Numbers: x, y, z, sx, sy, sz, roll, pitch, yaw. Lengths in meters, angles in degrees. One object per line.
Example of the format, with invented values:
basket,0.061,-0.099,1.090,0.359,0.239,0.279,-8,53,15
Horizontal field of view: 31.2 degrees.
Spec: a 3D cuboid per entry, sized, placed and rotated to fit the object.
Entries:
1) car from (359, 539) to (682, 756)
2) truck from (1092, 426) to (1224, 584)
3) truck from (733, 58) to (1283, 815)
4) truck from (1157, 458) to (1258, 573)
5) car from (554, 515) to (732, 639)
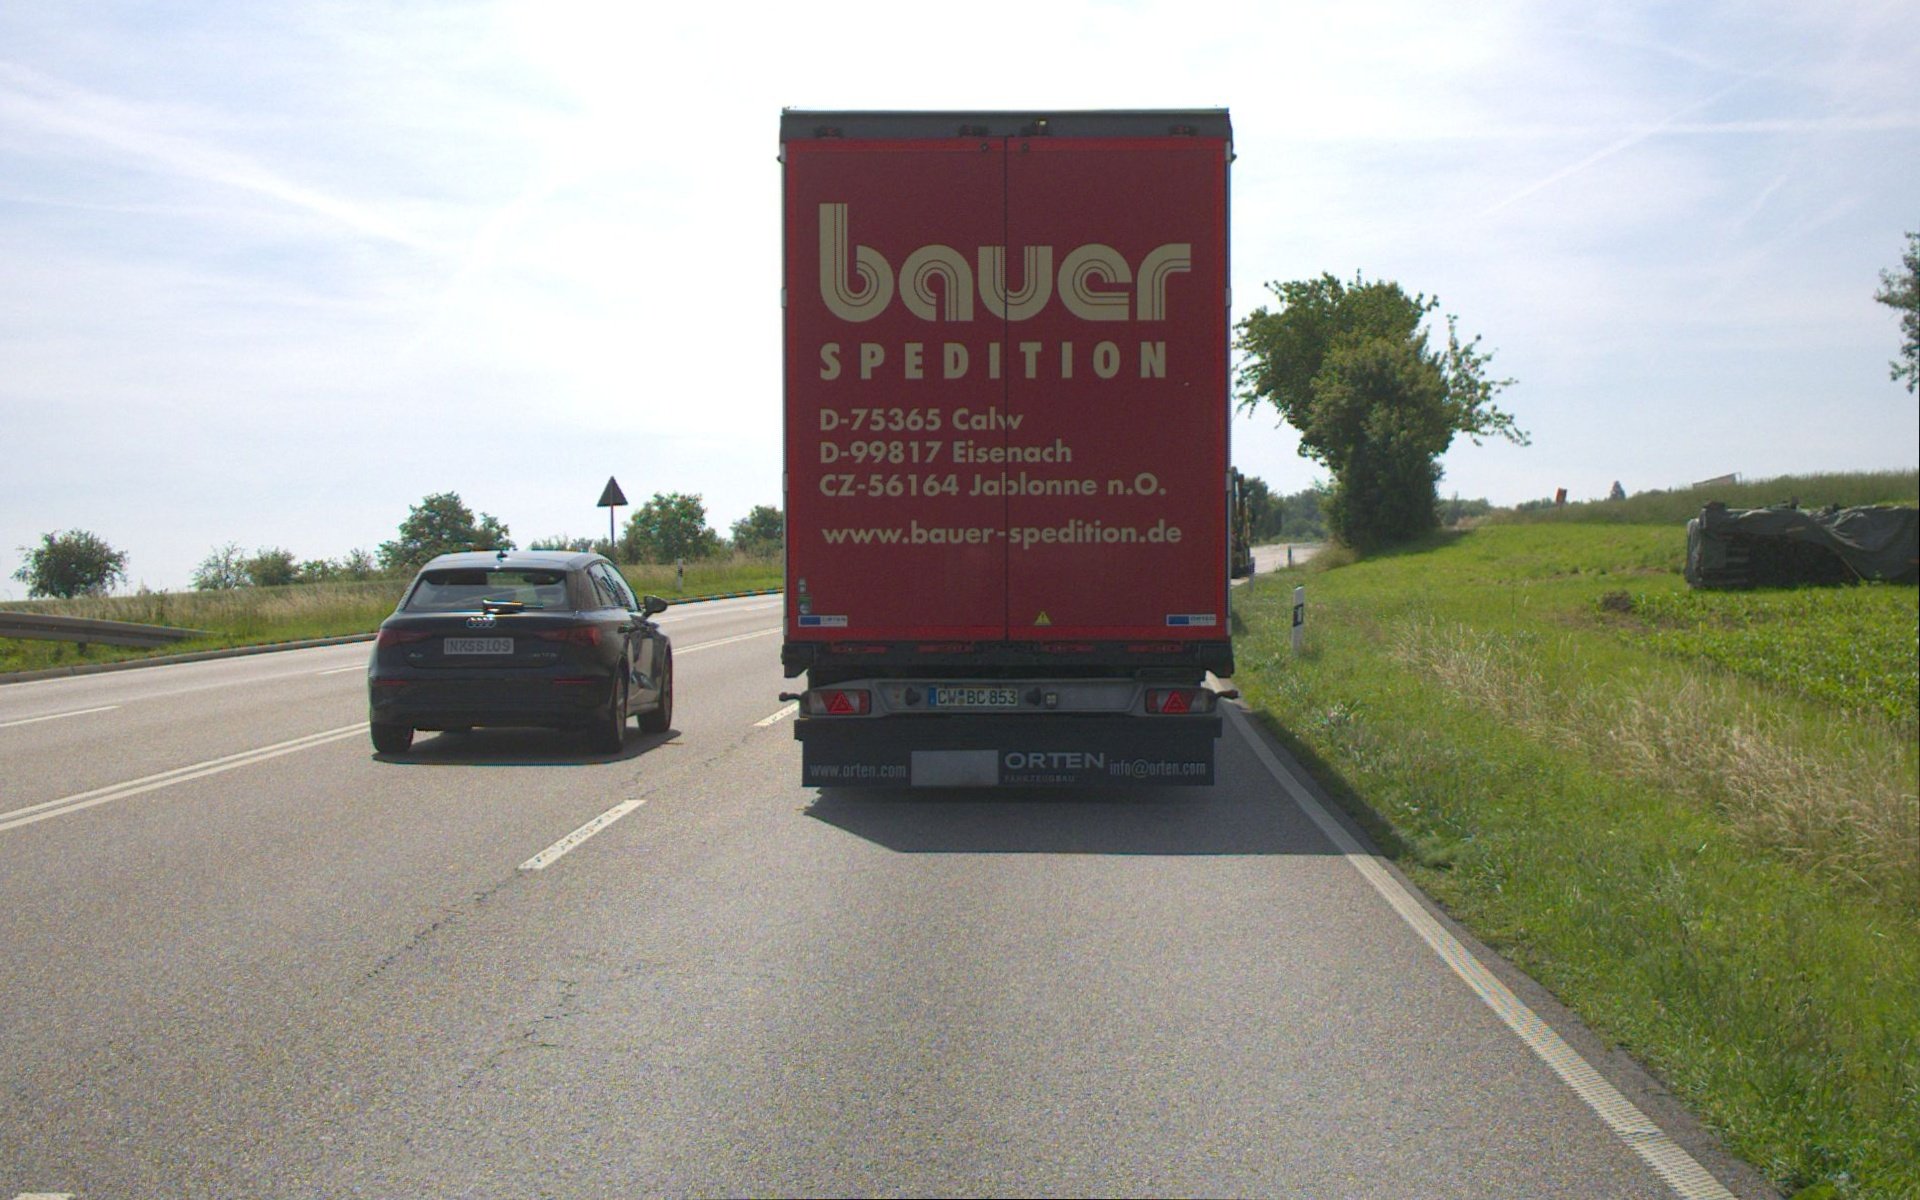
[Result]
car,-3.187,0.282,25.784,1.705,1.467,4.811,0,1,1
truck,5.518,-2.496,93.260,3.047,3.897,15.613,0,1,5
truck,0.279,-1.037,27.436,3.007,4.165,16.715,1,1,0
truck,9.275,-3.074,127.122,3.047,3.897,18.394,0,1,6
car,-4.971,-0.387,54.667,1.906,1.878,5.431,0,1,5
